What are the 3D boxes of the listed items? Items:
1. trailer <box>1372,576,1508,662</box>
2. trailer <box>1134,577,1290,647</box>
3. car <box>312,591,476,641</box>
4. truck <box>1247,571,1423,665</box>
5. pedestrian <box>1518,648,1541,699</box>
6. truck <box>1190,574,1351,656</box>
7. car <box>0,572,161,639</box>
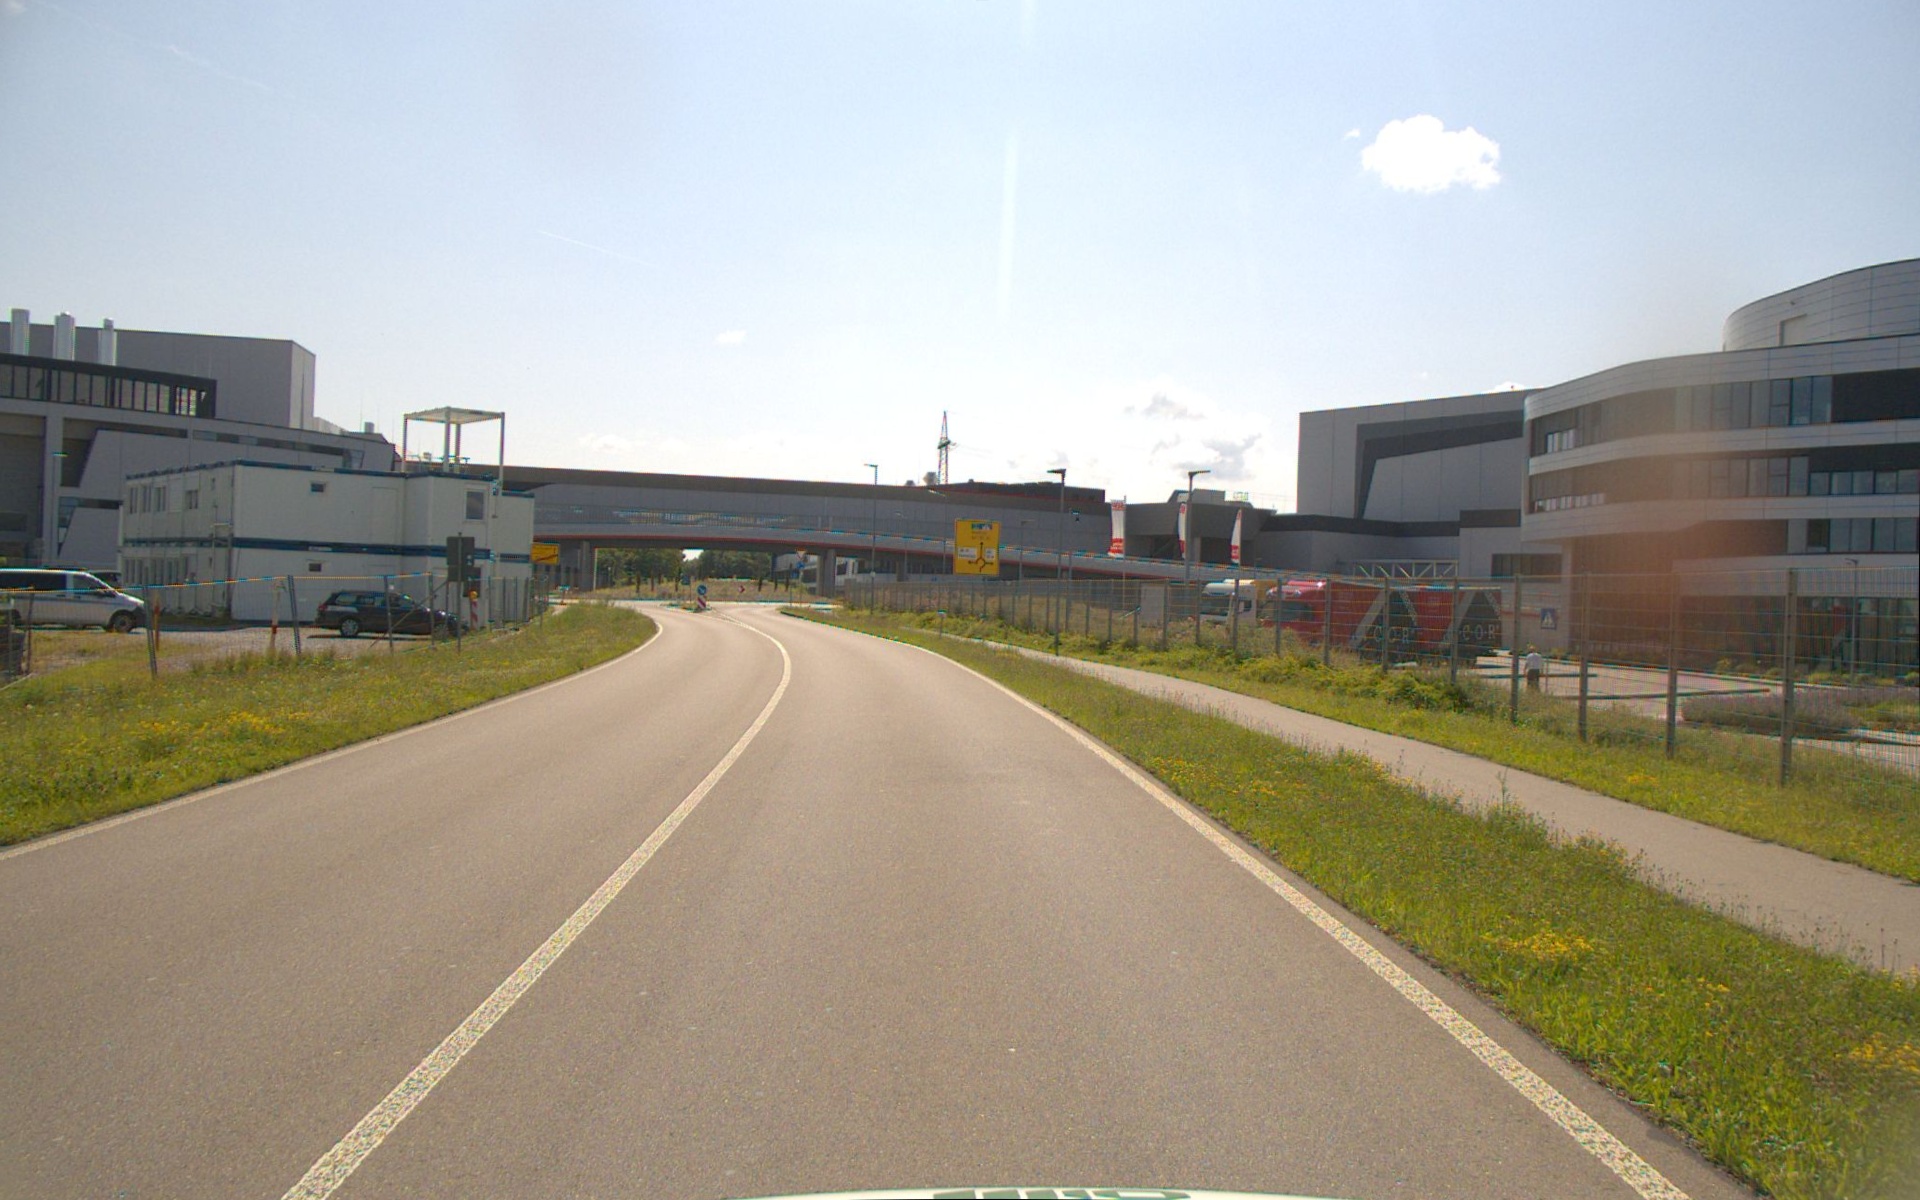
[{"bbox_3d":[25.632,0.979,88.066,8.645,4.371,2.981,1,0,-43],"label":"trailer"},{"bbox_3d":[17.381,0.819,113.001,13.955,4.515,2.721,1,0,-44],"label":"trailer"},{"bbox_3d":[-18.212,0.519,53.360,4.895,1.441,1.989,2,1,-20],"label":"car"},{"bbox_3d":[18.602,0.865,81.335,10.888,4.331,2.980,1,0,-44],"label":"truck"},{"bbox_3d":[18.975,2.450,55.152,0.474,1.682,0.573,2,0,-7],"label":"pedestrian"},{"bbox_3d":[17.076,0.837,90.345,10.885,4.245,2.778,1,0,-43],"label":"truck"},{"bbox_3d":[-27.725,0.167,51.283,4.974,1.899,1.972,2,0,-40],"label":"car"}]
